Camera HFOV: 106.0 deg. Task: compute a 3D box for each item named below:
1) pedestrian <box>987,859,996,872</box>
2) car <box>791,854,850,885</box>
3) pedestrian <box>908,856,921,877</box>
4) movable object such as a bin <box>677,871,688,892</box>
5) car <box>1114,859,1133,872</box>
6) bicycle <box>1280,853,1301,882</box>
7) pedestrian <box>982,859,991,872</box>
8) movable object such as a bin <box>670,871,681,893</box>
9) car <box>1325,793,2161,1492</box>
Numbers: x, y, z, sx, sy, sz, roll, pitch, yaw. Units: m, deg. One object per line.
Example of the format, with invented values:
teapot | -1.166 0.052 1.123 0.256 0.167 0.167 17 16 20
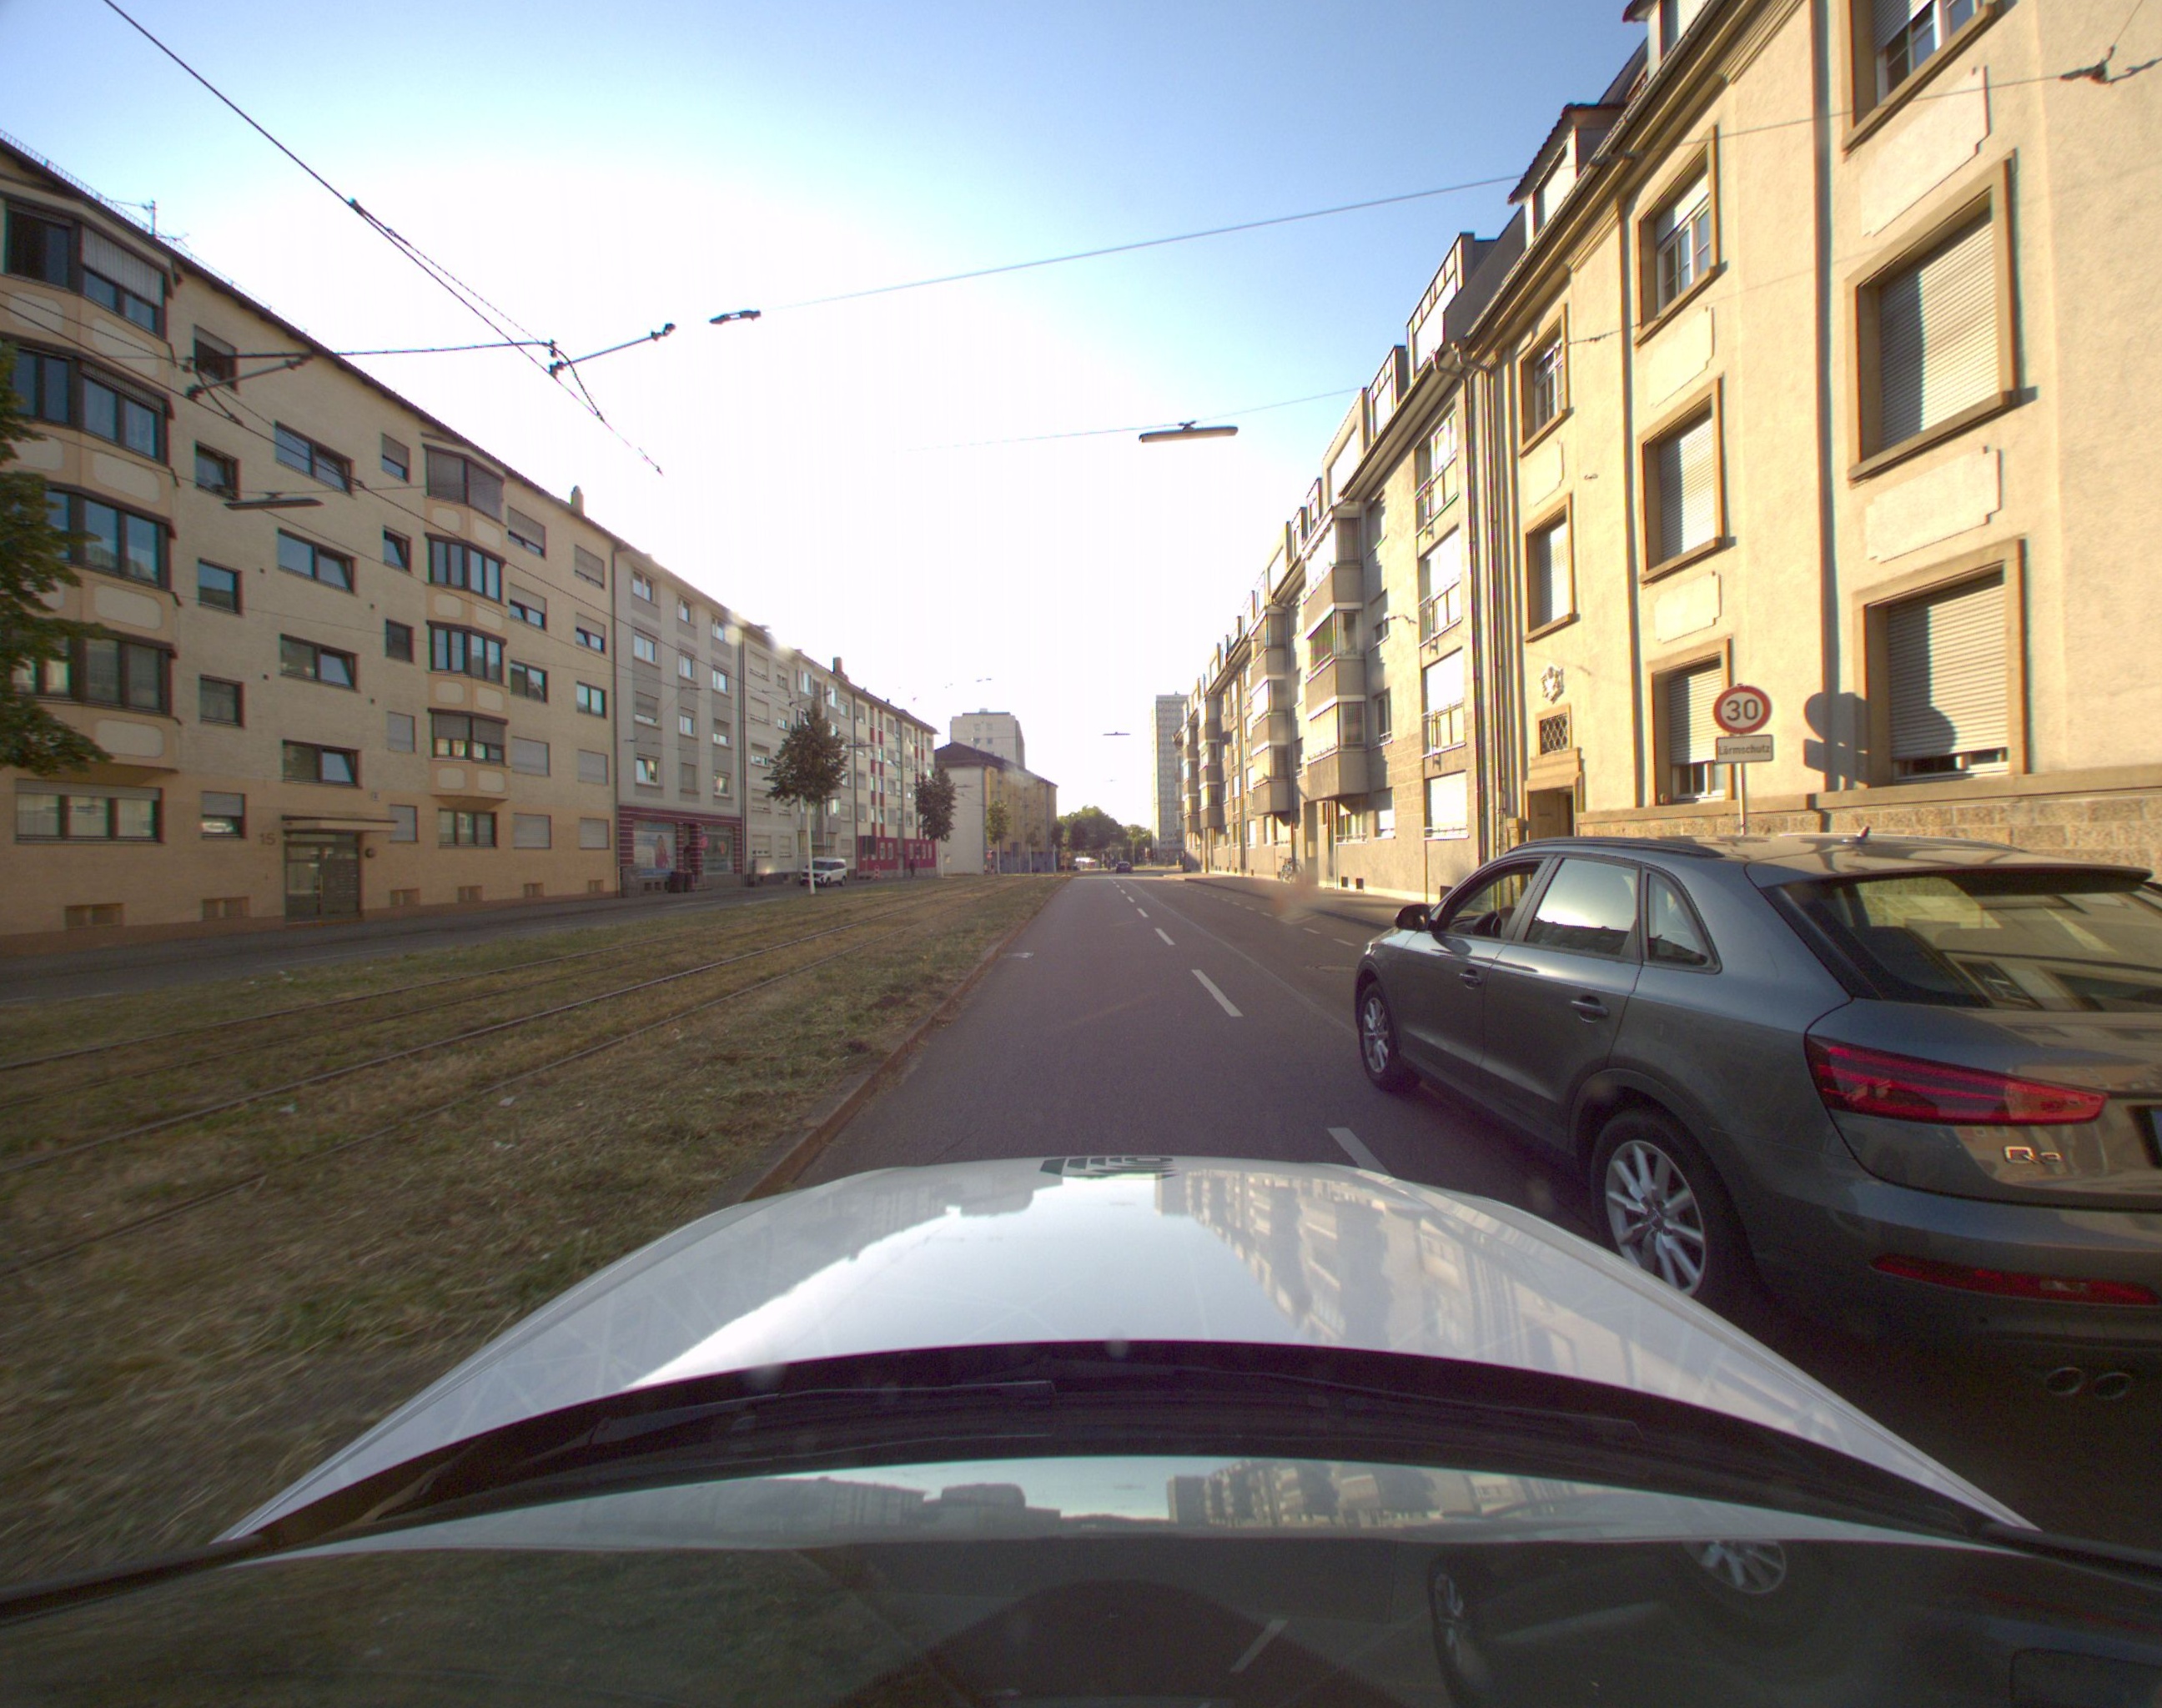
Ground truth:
pedestrian | -11.708 1.547 106.820 0.957 1.670 1.013 0 -1 6
car | -16.708 1.004 52.409 1.984 1.925 4.547 0 -1 5
pedestrian | -16.128 1.226 79.016 1.000 2.035 0.887 0 -1 5
movable object such as a bin | -19.406 1.339 39.652 0.297 1.036 0.441 0 -1 0
car | 5.231 1.411 99.442 1.915 1.456 4.338 0 -1 9
bicycle | 8.388 0.537 32.688 0.382 1.096 1.503 -2 -1 -1
pedestrian | -12.444 1.545 106.931 0.957 1.694 1.013 0 -1 6
movable object such as a bin | -19.441 1.343 39.014 0.297 1.036 0.441 0 -1 0
car | 2.641 0.672 3.940 1.692 1.553 4.225 0 -1 1
